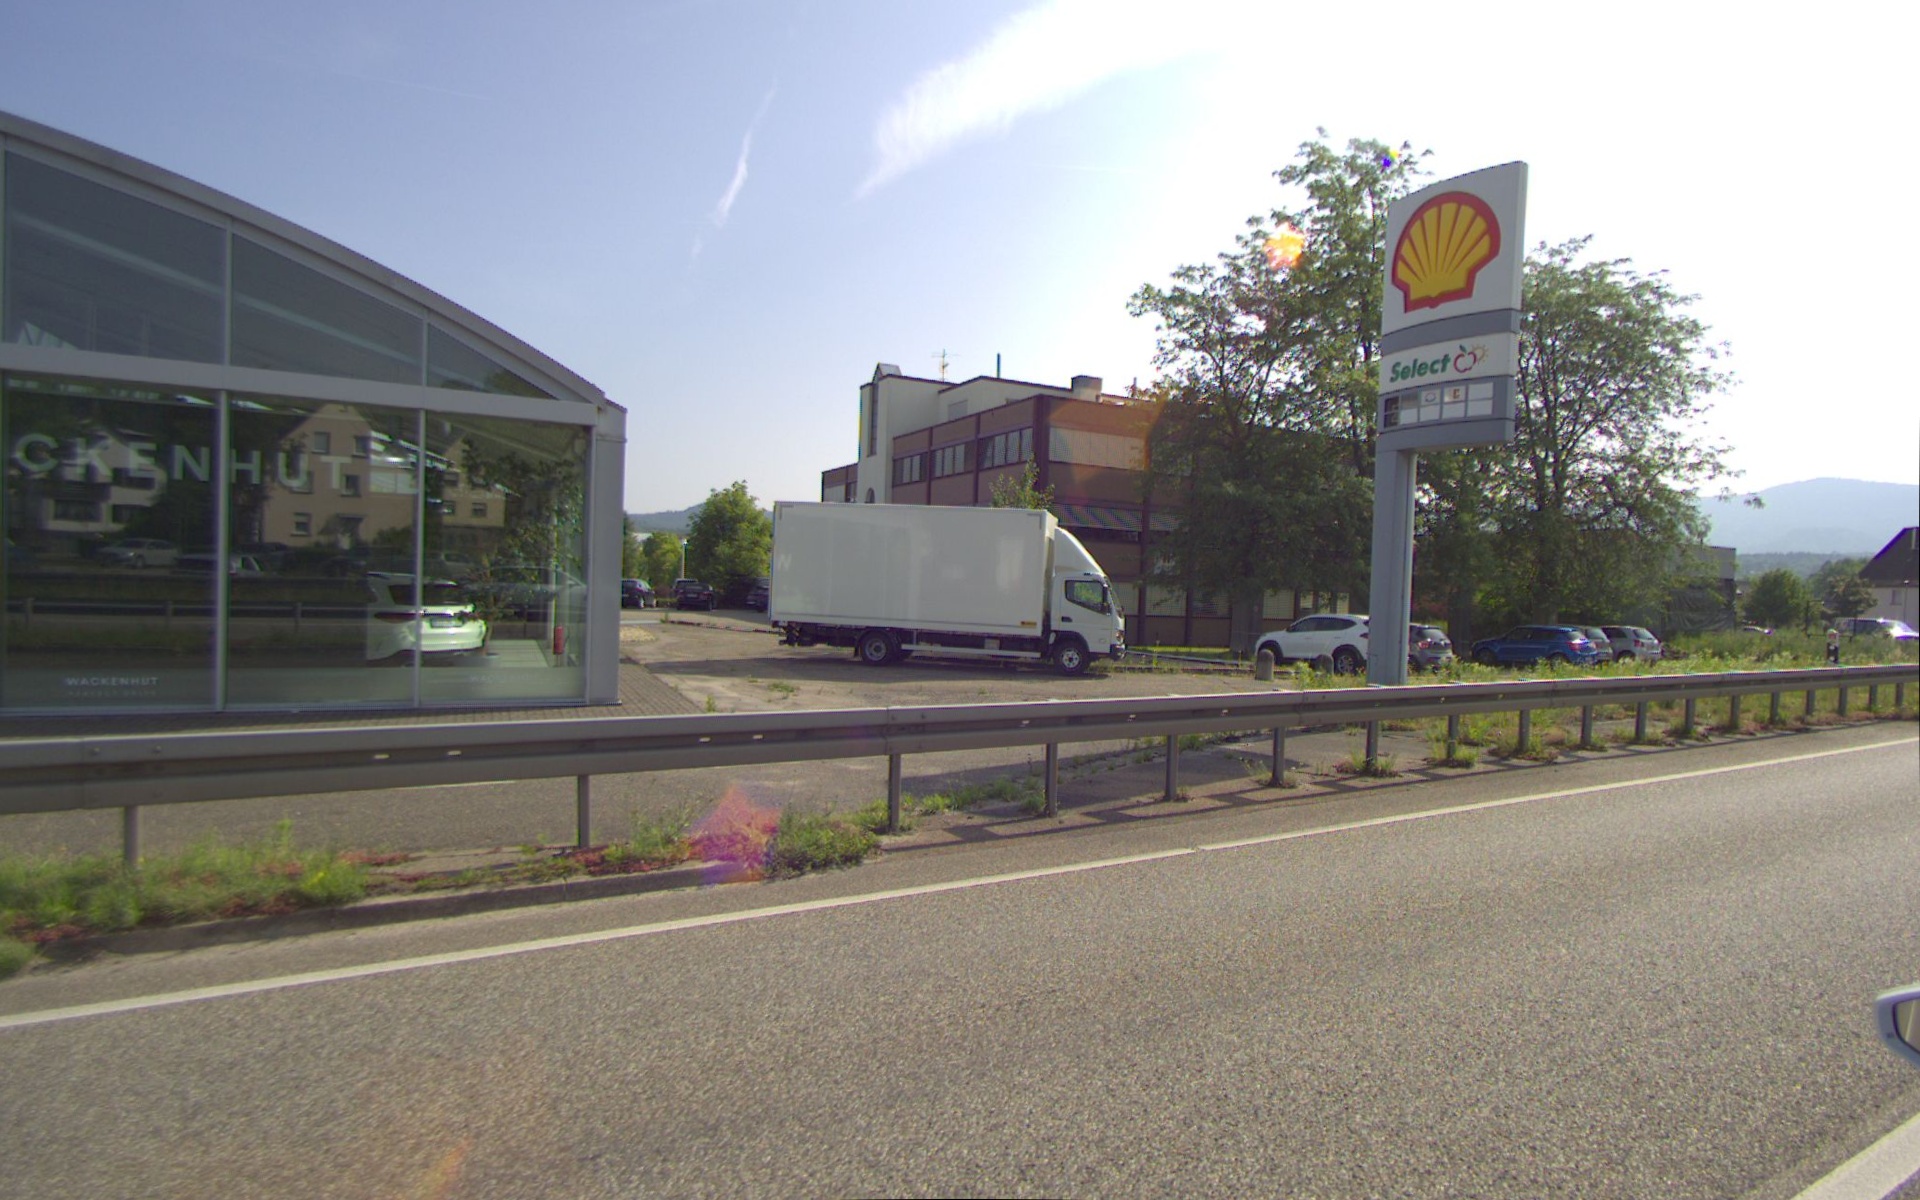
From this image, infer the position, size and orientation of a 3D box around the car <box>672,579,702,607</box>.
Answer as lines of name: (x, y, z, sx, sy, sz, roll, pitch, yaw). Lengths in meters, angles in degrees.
car: (-17.477, -0.461, 64.168, 1.702, 1.625, 3.986, 3, -1, -16)

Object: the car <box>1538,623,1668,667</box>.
car: (24.430, 1.688, 38.255, 1.842, 1.479, 3.725, 2, 0, -33)

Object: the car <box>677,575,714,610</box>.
car: (-13.890, -0.382, 52.591, 1.702, 1.625, 3.986, 3, -1, -16)

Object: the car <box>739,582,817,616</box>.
car: (-9.687, -0.042, 53.579, 1.701, 1.625, 3.987, 3, -1, 35)

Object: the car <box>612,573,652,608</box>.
car: (-16.826, -0.472, 51.649, 1.702, 1.625, 3.986, 3, -1, -16)

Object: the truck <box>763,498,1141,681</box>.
truck: (-0.078, -0.307, 22.766, 8.045, 3.604, 2.808, 2, 1, 11)

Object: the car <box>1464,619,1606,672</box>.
car: (19.655, 1.515, 34.458, 1.911, 1.520, 3.725, 2, 1, -33)

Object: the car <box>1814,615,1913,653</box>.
car: (52.849, 1.951, 58.897, 1.959, 2.040, 4.908, 1, 0, 10)

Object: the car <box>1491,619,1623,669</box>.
car: (21.734, 1.579, 36.703, 1.833, 1.520, 3.734, 2, 1, -26)

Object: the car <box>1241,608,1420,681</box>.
car: (10.199, 1.184, 27.962, 1.913, 1.677, 4.322, 2, 1, -35)

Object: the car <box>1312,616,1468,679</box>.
car: (12.559, 1.346, 29.515, 1.913, 1.520, 3.722, 2, 1, -35)
